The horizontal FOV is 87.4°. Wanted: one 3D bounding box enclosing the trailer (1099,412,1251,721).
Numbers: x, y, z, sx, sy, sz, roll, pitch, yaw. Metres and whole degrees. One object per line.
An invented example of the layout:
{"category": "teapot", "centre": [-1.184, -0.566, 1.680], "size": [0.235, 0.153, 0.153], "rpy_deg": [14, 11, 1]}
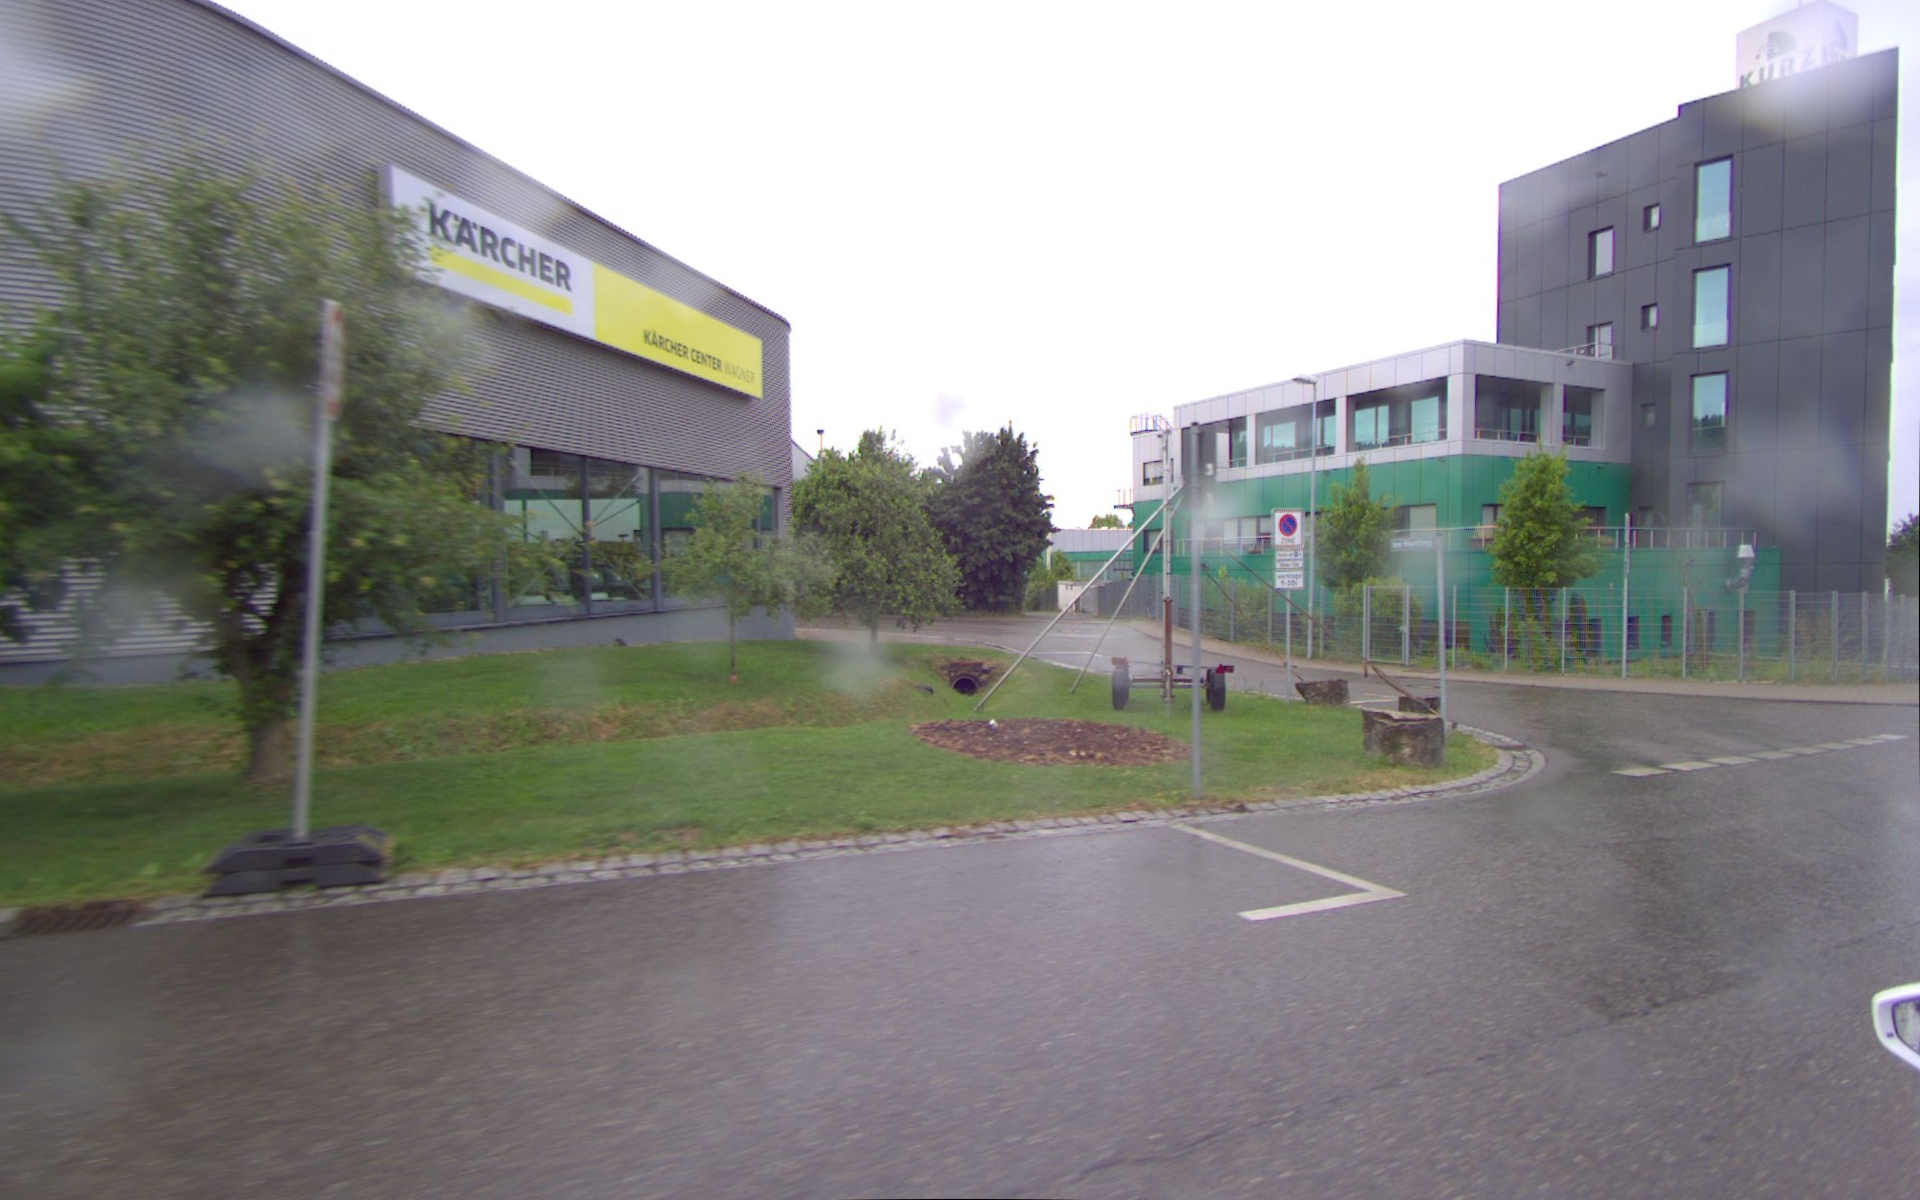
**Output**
{"category": "trailer", "centre": [3.380, -0.451, 16.042], "size": [1.965, 4.259, 4.189], "rpy_deg": [1, 0, 11]}
